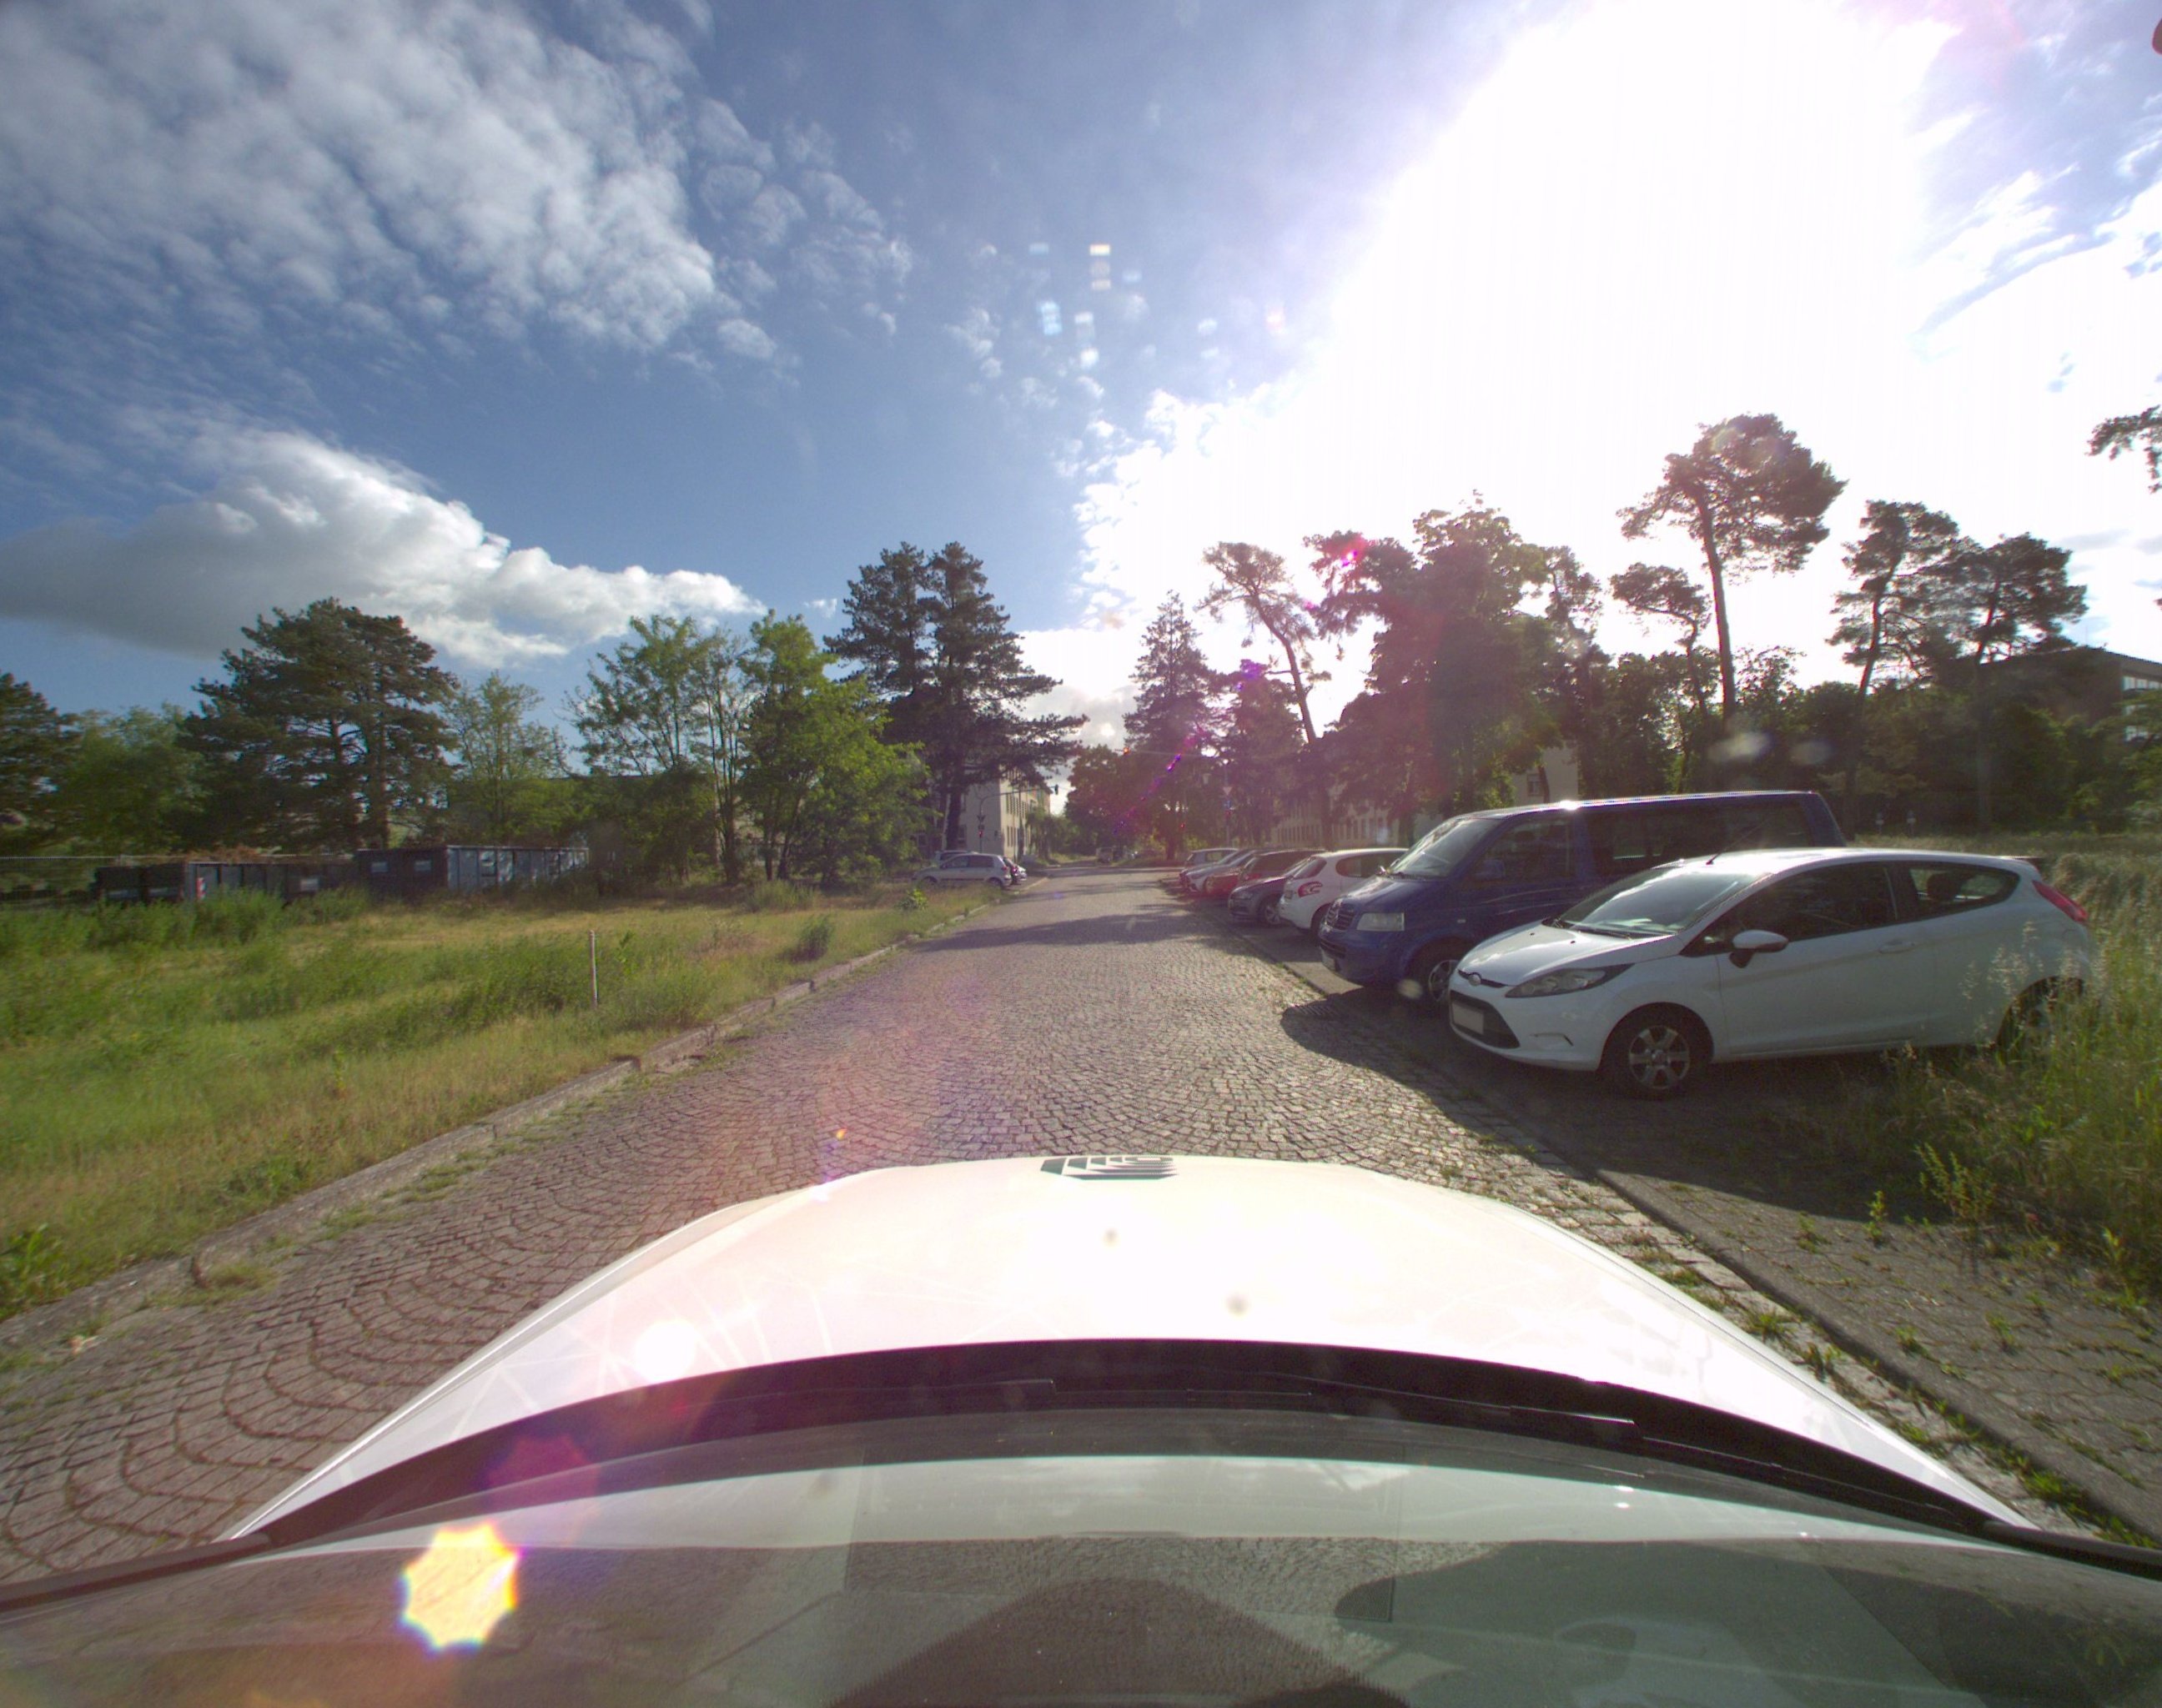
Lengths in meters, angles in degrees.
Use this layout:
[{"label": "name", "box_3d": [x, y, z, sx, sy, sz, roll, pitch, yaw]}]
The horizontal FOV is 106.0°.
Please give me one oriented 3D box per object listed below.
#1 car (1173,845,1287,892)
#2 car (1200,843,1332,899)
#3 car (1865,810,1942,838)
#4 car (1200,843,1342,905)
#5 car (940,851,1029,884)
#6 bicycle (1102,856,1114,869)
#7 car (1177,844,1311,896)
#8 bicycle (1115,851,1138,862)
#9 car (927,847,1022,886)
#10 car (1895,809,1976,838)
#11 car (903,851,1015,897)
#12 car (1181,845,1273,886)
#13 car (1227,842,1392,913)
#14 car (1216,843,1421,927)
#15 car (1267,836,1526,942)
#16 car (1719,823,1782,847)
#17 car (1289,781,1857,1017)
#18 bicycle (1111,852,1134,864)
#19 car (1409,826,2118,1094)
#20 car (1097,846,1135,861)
[{"label": "car", "box_3d": [5.334, 0.500, 29.493, 3.823, 1.529, 1.645, -2, 0, 0]}, {"label": "car", "box_3d": [5.515, 0.499, 24.532, 3.591, 1.529, 1.645, -2, 0, 0]}, {"label": "car", "box_3d": [64.152, -2.298, 63.557, 3.972, 2.013, 2.001, -2, 0, 1]}, {"label": "car", "box_3d": [5.097, 0.523, 22.182, 3.466, 1.529, 1.645, -2, 0, 0]}, {"label": "car", "box_3d": [-4.619, 0.644, 39.369, 3.973, 1.453, 2.001, 1, 0, 1]}, {"label": "bicycle", "box_3d": [2.574, 0.802, 77.757, 0.803, 1.169, 2.177, -3, 0, -4]}, {"label": "car", "box_3d": [5.297, 0.493, 26.720, 4.024, 1.529, 1.644, -2, 0, -2]}, {"label": "bicycle", "box_3d": [4.568, 0.272, 82.331, 2.172, 1.100, 0.805, -1, 0, -8]}, {"label": "car", "box_3d": [-4.768, 0.559, 36.970, 3.973, 1.601, 2.001, 2, 0, 1]}, {"label": "car", "box_3d": [64.343, -2.284, 61.365, 3.972, 2.013, 2.001, -2, 0, 1]}, {"label": "car", "box_3d": [-4.655, 0.729, 31.574, 3.975, 1.600, 1.999, -2, 0, -1]}, {"label": "car", "box_3d": [5.719, 0.452, 32.126, 3.332, 1.482, 1.645, -2, 0, 0]}, {"label": "car", "box_3d": [5.392, 0.532, 19.482, 3.466, 1.529, 1.645, -2, 0, 0]}, {"label": "car", "box_3d": [4.734, 0.597, 16.575, 3.663, 1.467, 1.645, -3, 0, 0]}, {"label": "car", "box_3d": [5.157, 0.553, 13.677, 3.680, 1.465, 1.646, -3, 0, 2]}, {"label": "car", "box_3d": [60.257, -1.676, 73.318, 3.972, 2.013, 2.001, -2, 0, 1]}, {"label": "car", "box_3d": [4.791, 0.392, 8.483, 4.664, 2.013, 2.082, -2, 0, -2]}, {"label": "bicycle", "box_3d": [4.171, 0.375, 81.185, 2.172, 1.100, 0.805, -1, 0, -8]}, {"label": "car", "box_3d": [4.545, 0.637, 5.829, 3.708, 1.488, 1.645, -2, 0, -1]}, {"label": "car", "box_3d": [4.217, -0.049, 98.667, 4.464, 1.728, 2.000, -1, 0, 1]}]
